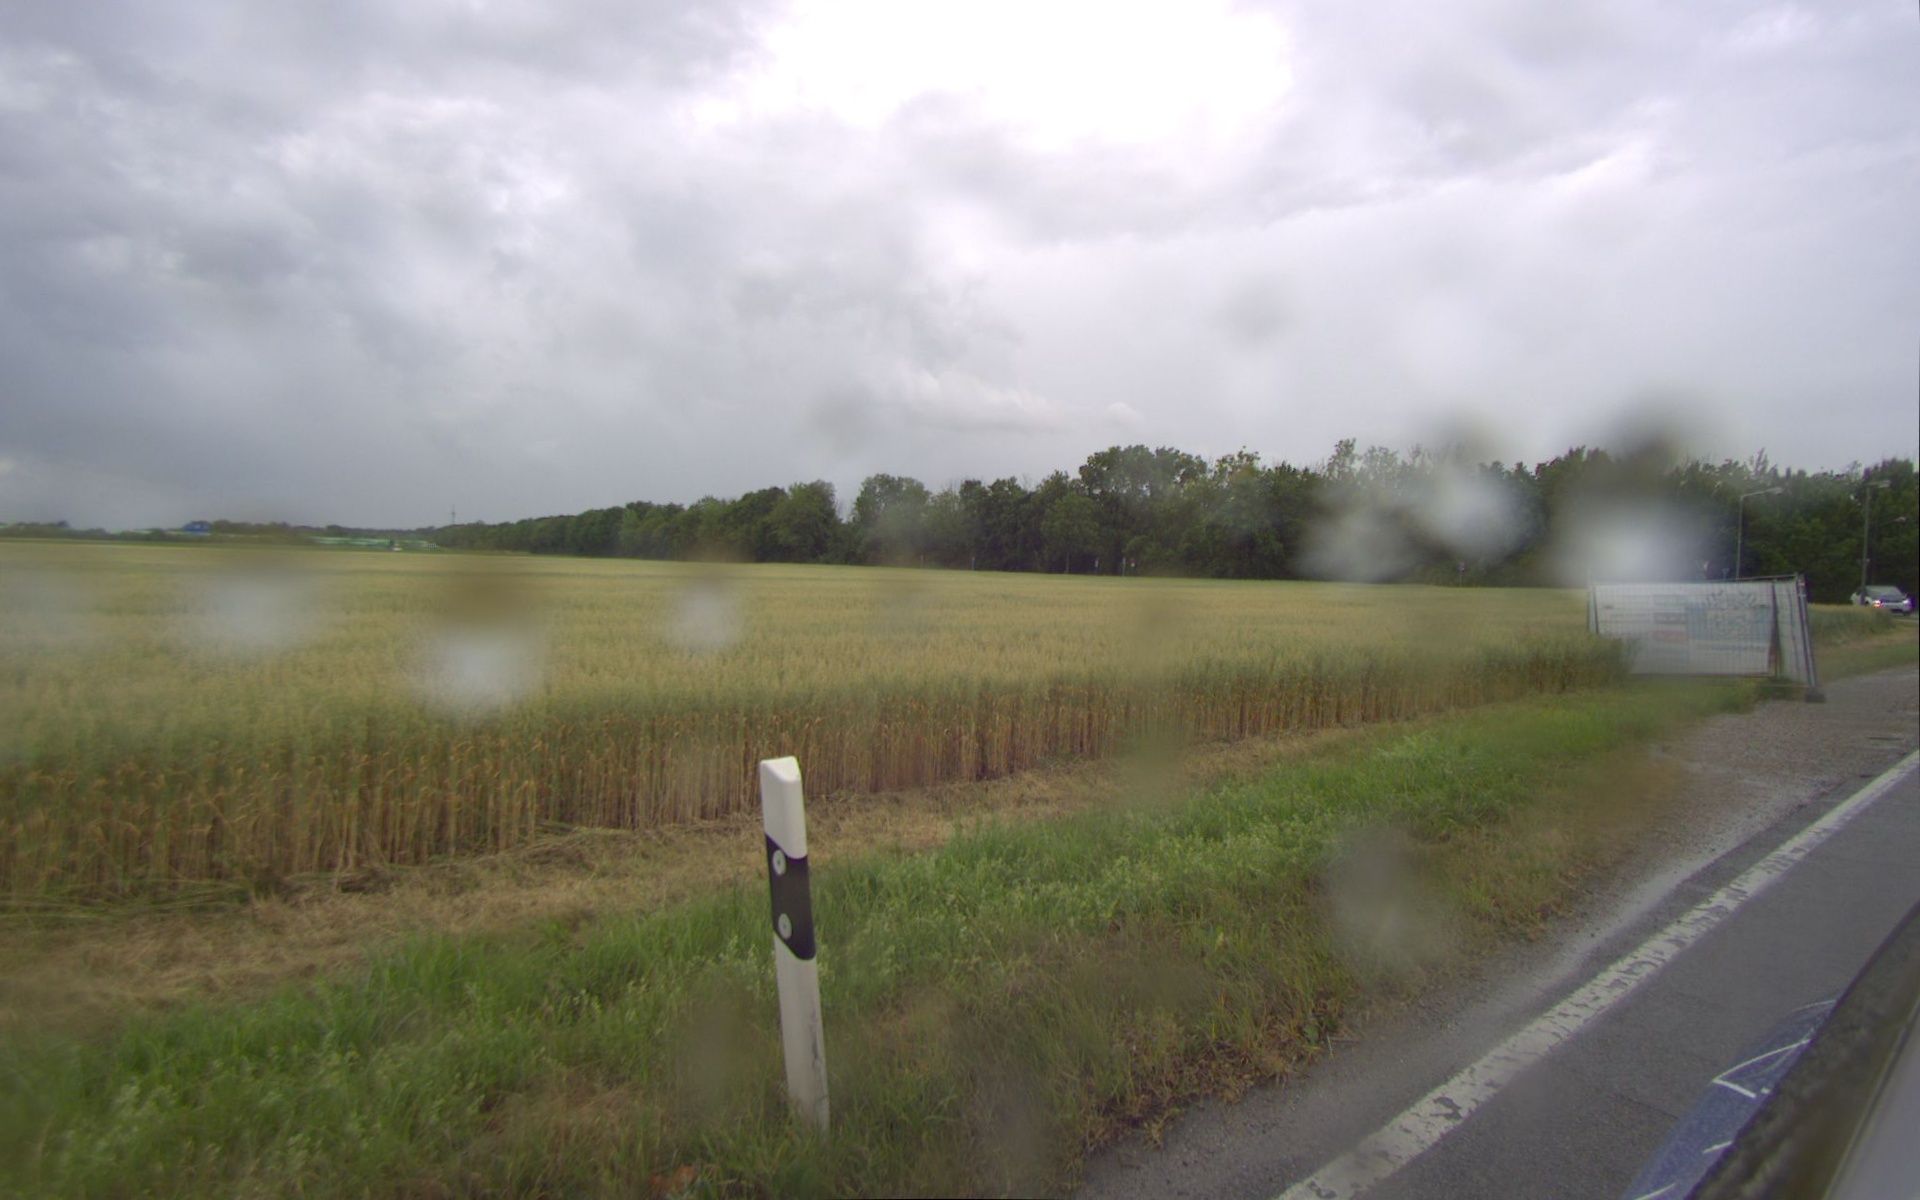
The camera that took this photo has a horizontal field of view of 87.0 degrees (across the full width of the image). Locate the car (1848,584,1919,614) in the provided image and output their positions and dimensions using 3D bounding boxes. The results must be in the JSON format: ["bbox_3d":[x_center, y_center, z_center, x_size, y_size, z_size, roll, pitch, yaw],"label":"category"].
[{"bbox_3d":[50.223,-0.101,54.832,1.872,1.550,4.466,1,1,24],"label":"car"}]
